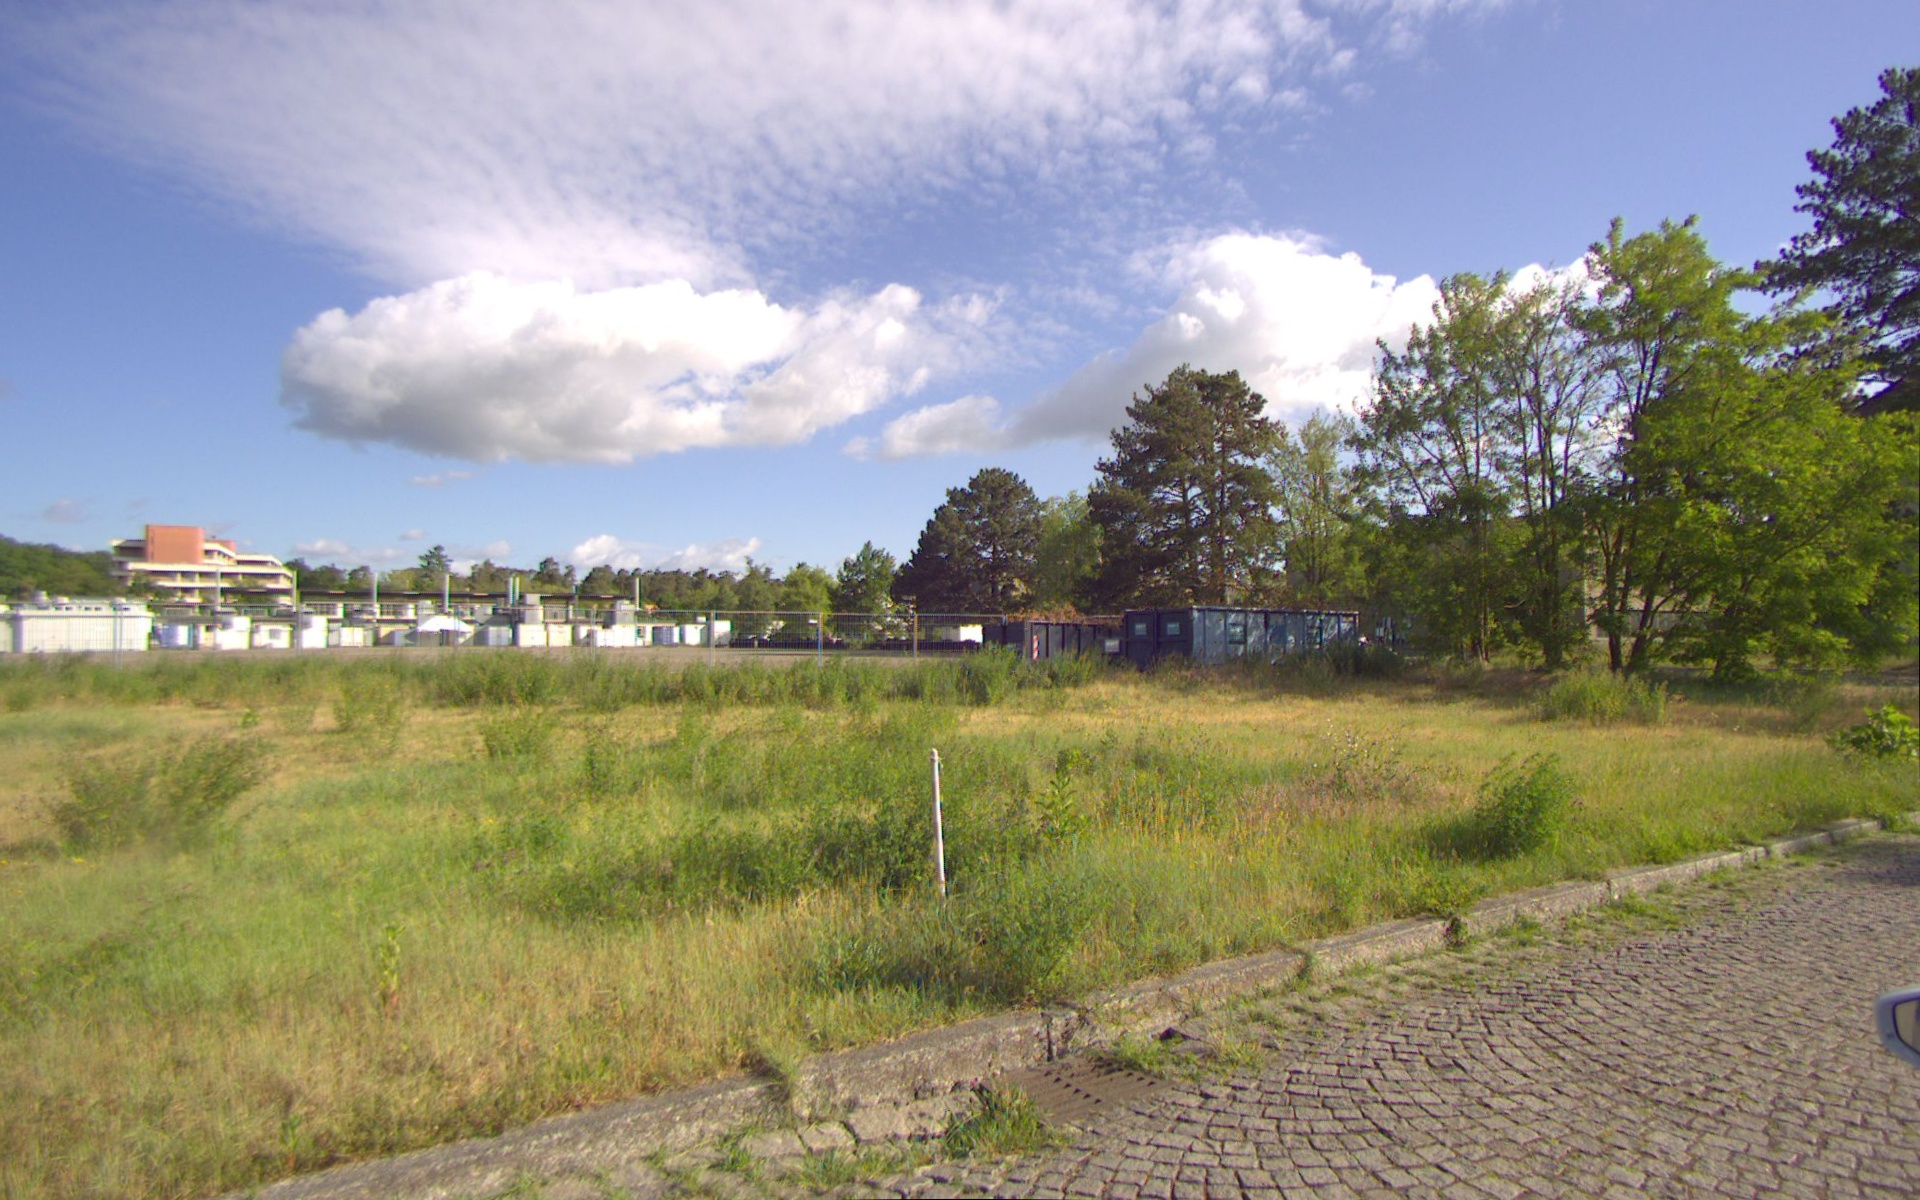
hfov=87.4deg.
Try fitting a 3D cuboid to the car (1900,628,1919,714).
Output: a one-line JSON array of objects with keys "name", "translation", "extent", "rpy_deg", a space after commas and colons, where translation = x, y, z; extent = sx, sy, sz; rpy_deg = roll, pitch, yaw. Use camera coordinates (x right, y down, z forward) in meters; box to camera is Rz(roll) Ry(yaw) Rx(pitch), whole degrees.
[{"name": "car", "translation": [19.742, 1.293, 17.923], "extent": [1.978, 1.621, 3.965], "rpy_deg": [1, -2, -33]}]
